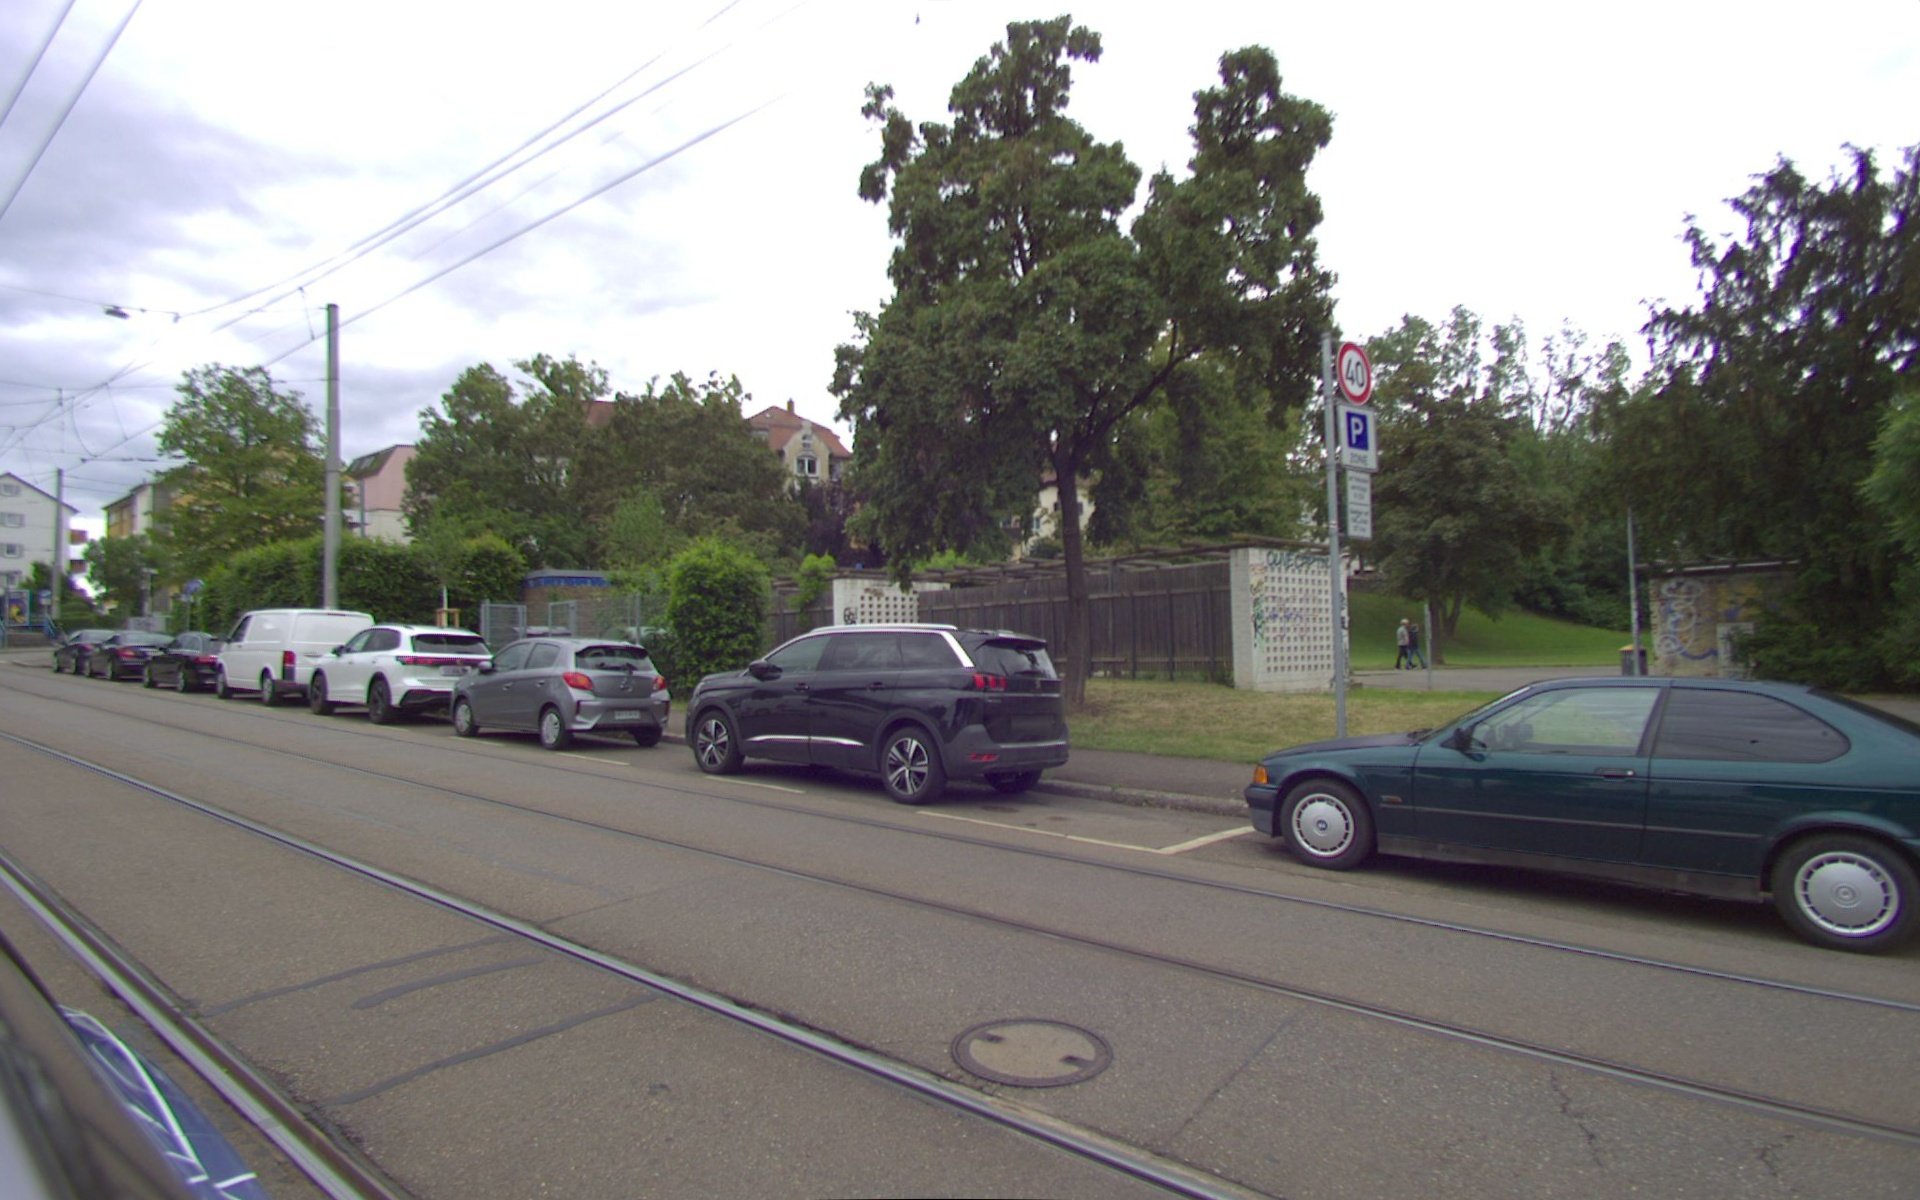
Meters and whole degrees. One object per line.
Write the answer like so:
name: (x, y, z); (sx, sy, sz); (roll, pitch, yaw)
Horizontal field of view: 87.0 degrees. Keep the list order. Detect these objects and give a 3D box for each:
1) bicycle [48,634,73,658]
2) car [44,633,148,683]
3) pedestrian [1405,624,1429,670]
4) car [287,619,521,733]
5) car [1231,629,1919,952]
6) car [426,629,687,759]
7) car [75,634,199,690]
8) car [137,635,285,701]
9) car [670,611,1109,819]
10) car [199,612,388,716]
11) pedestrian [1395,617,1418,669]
bicycle: (-45.368, 2.312, 51.057); (1.487, 1.190, 0.704); (0, -2, 40)
car: (-28.047, 1.842, 32.827); (4.156, 1.415, 1.772); (0, -2, 38)
pedestrian: (15.053, 1.529, 33.343); (0.585, 1.496, 0.490); (-1, -2, 41)
car: (-9.893, 1.233, 17.865); (4.627, 1.699, 1.950); (0, -2, 38)
car: (4.023, 0.980, 6.433); (4.151, 1.489, 1.605); (0, -2, 38)
car: (-5.794, 1.217, 14.367); (3.864, 1.520, 1.721); (0, -2, 38)
car: (-23.719, 1.740, 29.114); (4.434, 1.397, 1.822); (0, -2, 38)
car: (-18.704, 1.632, 25.197); (4.512, 1.397, 1.822); (0, -2, 38)
car: (-0.867, 1.006, 10.616); (4.438, 1.699, 1.950); (0, -2, 38)
car: (-14.297, 1.272, 21.603); (4.729, 1.927, 1.950); (0, -2, 38)
pedestrian: (15.049, 1.436, 34.124); (0.585, 1.738, 0.490); (-1, -2, 41)
